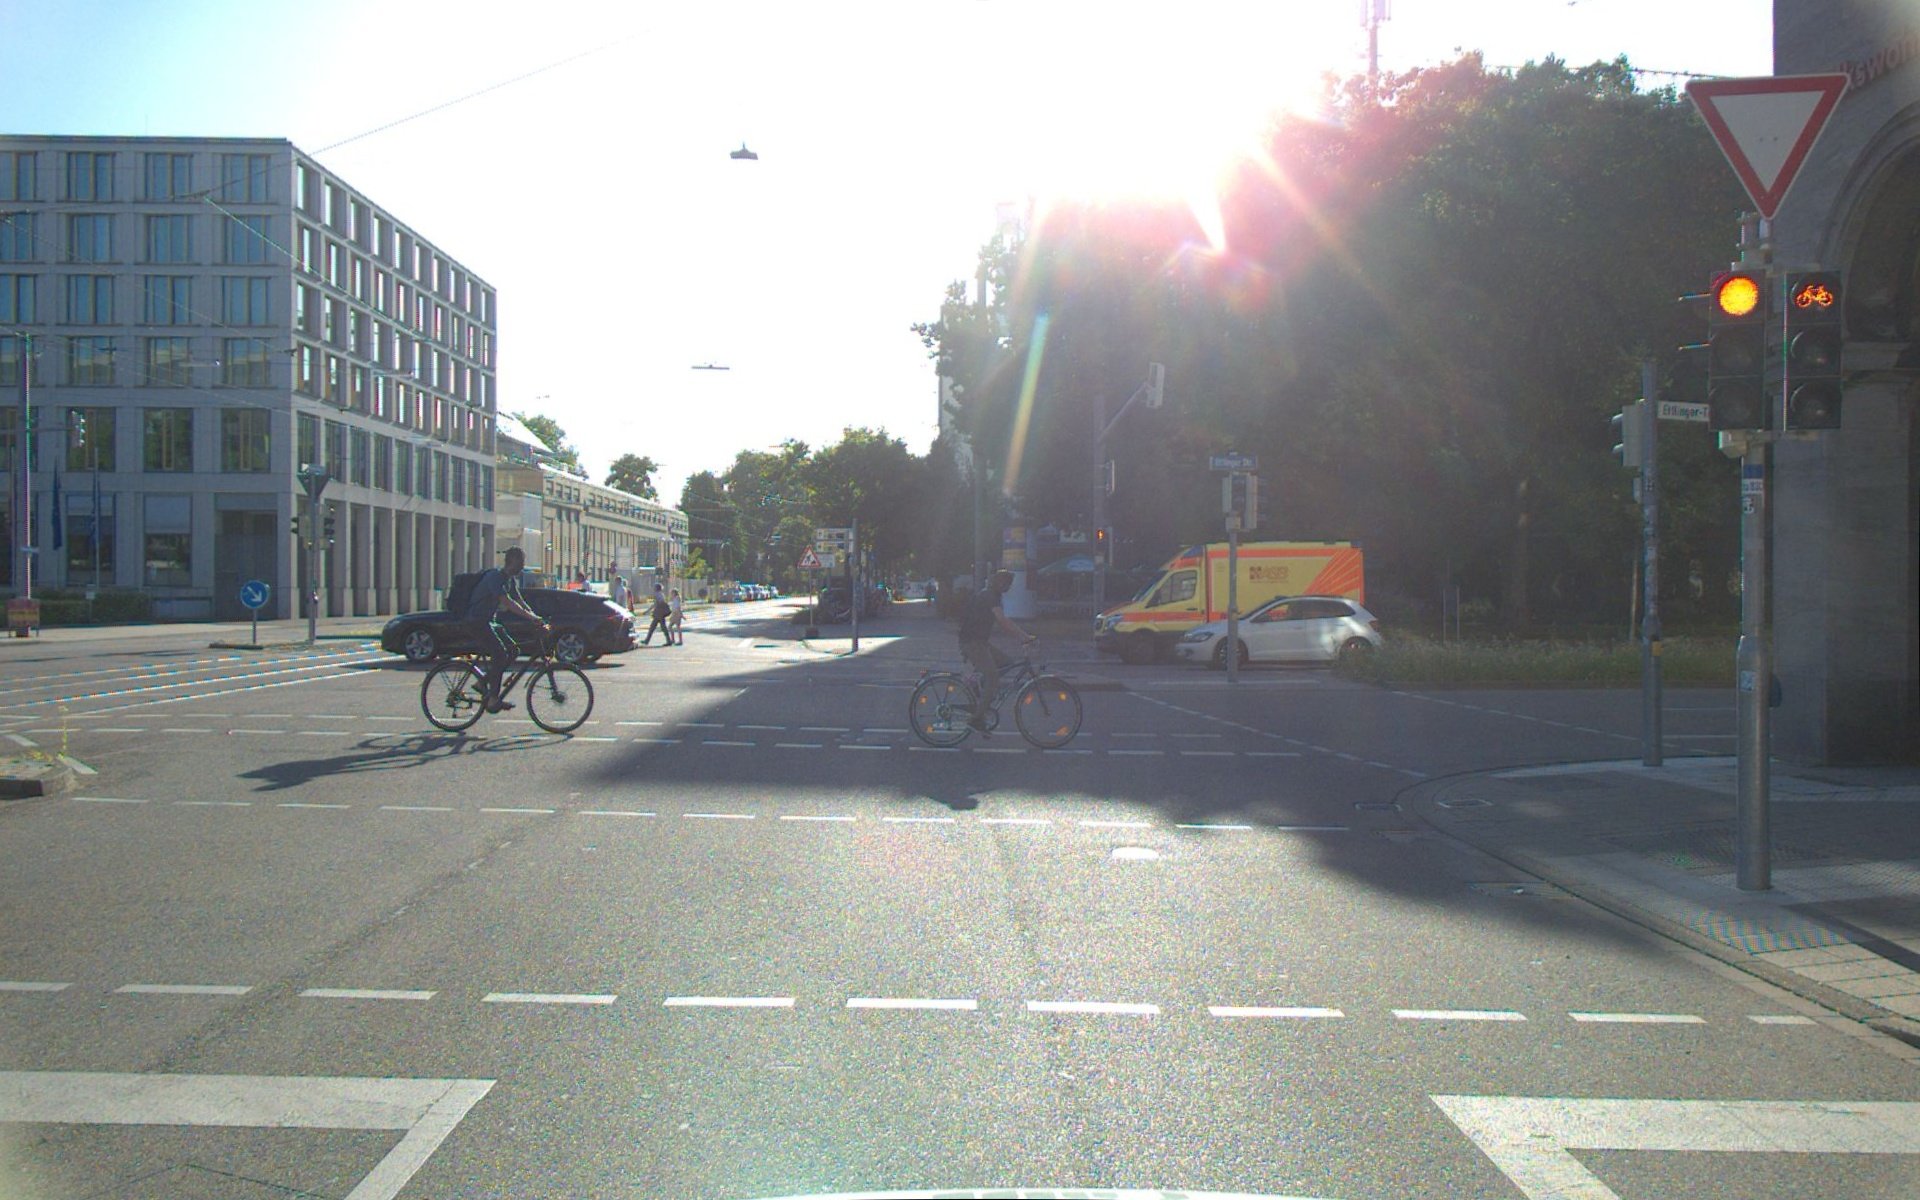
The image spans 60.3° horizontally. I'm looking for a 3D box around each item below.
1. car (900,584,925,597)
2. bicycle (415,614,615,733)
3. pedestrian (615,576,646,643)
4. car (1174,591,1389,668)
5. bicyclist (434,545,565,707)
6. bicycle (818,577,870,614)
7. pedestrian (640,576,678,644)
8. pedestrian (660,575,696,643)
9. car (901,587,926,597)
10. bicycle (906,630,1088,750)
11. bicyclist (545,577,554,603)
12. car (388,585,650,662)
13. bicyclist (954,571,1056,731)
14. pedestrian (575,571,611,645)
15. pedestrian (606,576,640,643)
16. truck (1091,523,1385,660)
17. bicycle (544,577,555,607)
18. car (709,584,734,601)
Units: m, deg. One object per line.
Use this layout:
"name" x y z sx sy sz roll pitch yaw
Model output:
"car" -6.140 -1.216 213.356 3.152 1.616 1.445 1 0 -5
"bicycle" -4.574 0.743 17.064 1.834 1.178 0.767 0 0 2
"pedestrian" -9.188 0.266 46.079 0.723 1.835 0.532 0 0 4
"car" 6.396 0.568 33.114 3.962 1.459 1.631 0 0 -3
"bicyclist" -4.745 0.261 17.096 1.100 1.622 0.767 0 0 2
"bicycle" -5.697 -0.228 81.390 2.495 1.774 1.037 1 0 -1
"pedestrian" -8.118 0.270 44.612 0.852 1.835 0.664 0 0 4
"pedestrian" -7.731 0.248 45.386 0.851 1.835 0.532 0 0 4
"car" -5.931 -1.042 211.119 3.153 1.285 1.372 1 0 -3
"bicycle" 0.383 0.891 16.667 1.775 1.104 0.767 1 2 3
"bicyclist" -32.230 -0.807 129.860 0.559 2.059 0.761 0 0 -2
"car" -8.625 0.482 32.680 4.641 1.440 1.998 1 -2 -3
"bicyclist" 0.458 0.495 16.651 0.981 1.538 0.767 1 2 3
"pedestrian" -9.743 0.208 43.900 0.785 1.951 0.637 0 0 4
"pedestrian" -9.224 0.258 45.289 0.723 1.835 0.716 0 0 4
"truck" 6.356 -0.191 38.472 6.337 3.068 2.724 0 0 -2
"bicycle" -32.241 -0.663 129.890 0.559 2.336 1.422 0 0 -2
"car" -22.493 -0.719 156.056 1.856 1.635 4.498 0 0 -3
